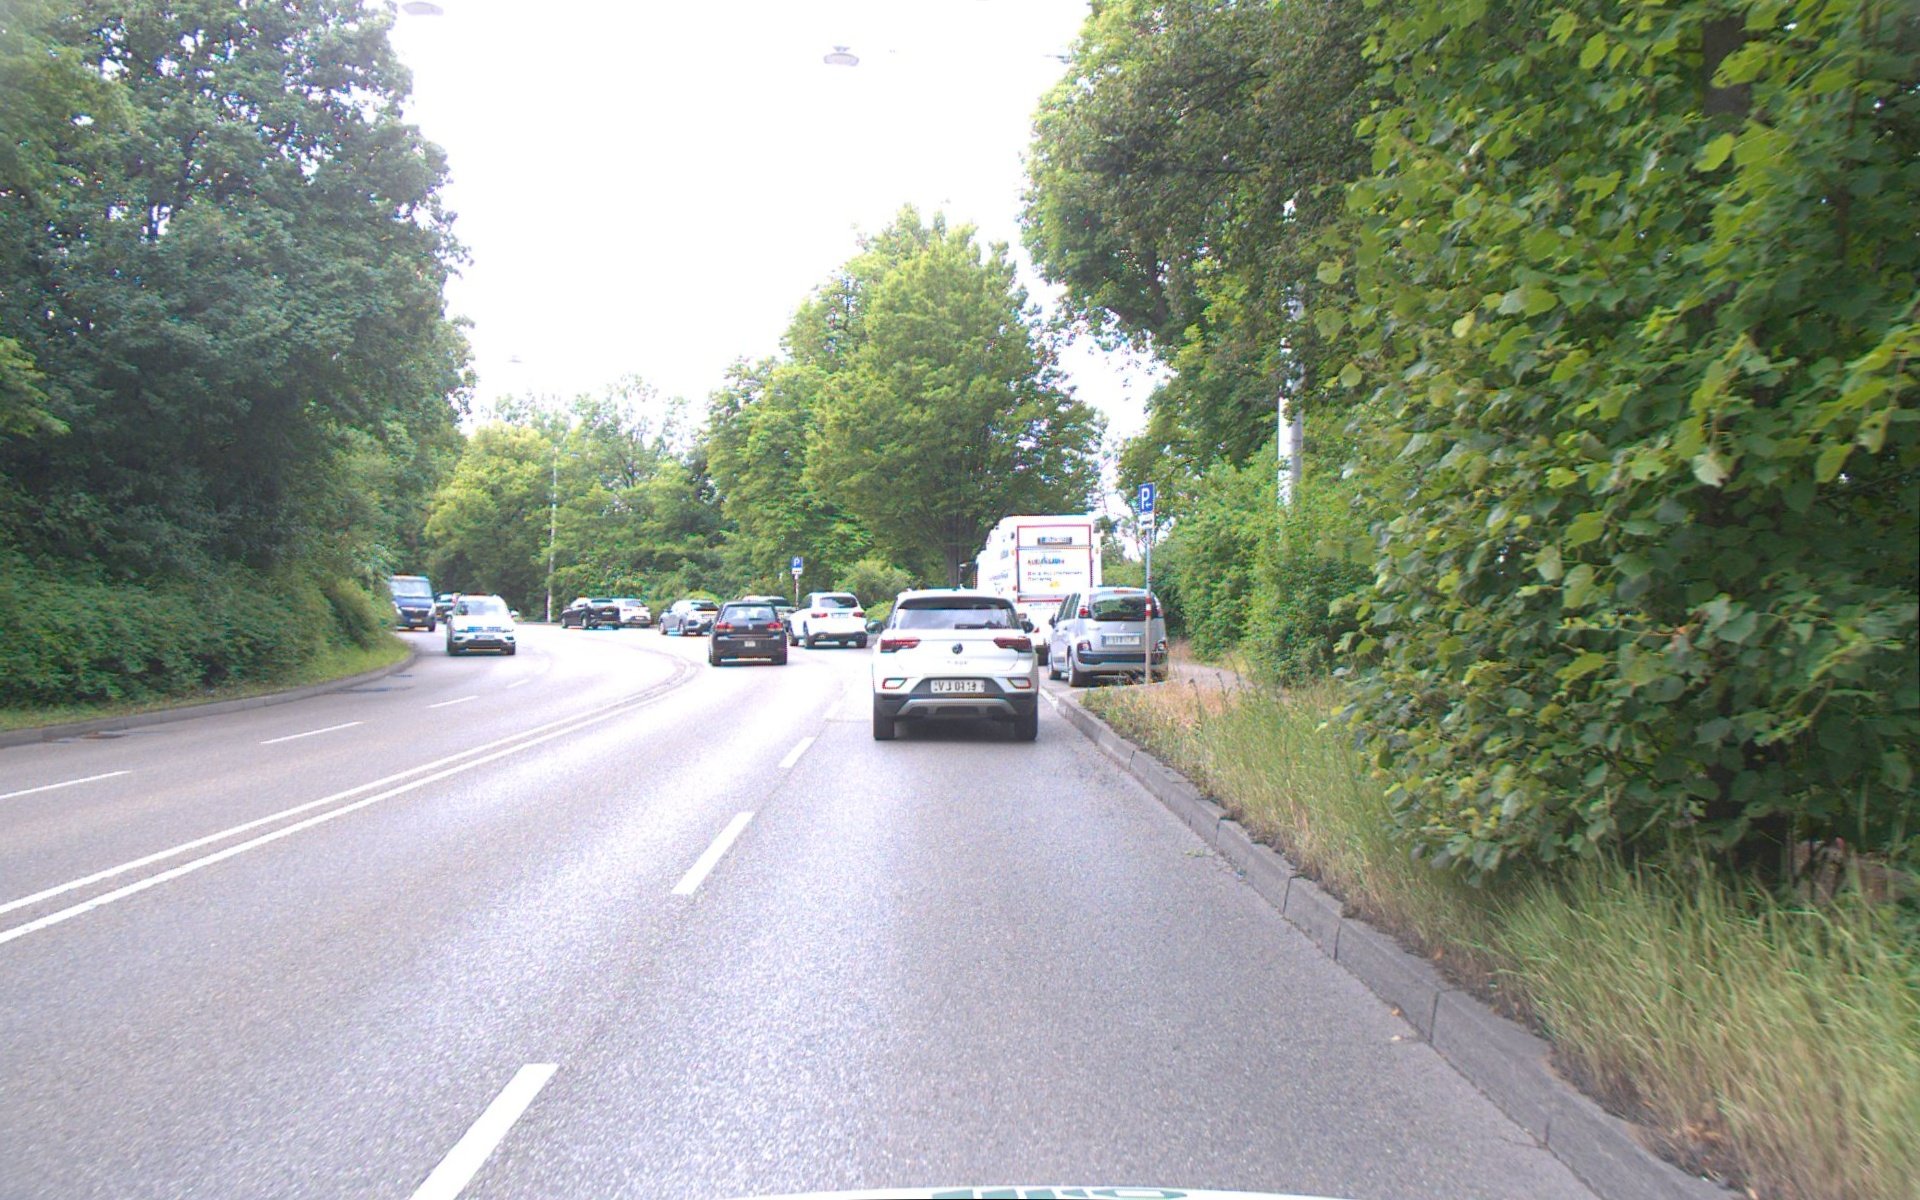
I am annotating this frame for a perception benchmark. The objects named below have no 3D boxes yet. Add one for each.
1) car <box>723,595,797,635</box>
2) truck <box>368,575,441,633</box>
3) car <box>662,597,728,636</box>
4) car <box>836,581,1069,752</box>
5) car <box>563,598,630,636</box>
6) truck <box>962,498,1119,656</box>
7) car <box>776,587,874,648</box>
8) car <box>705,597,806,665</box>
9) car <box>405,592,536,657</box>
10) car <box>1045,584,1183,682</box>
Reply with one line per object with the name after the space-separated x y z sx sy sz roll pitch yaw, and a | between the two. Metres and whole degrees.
-8.674 0.627 71.321 1.738 1.681 4.340 0 0 -28 | car
-24.017 0.162 71.314 2.134 2.412 6.621 0 0 -26 | truck
-10.693 0.657 66.554 1.409 1.413 3.964 3 -1 -28 | car
-0.208 0.677 18.505 1.964 1.624 3.991 3 -1 -9 | car
-17.349 0.778 78.832 1.750 1.635 3.953 3 -1 -34 | car
1.720 -0.453 38.755 2.435 3.237 7.218 3 -1 -6 | truck
-4.124 0.484 50.140 1.826 1.732 3.972 -1 1 -23 | car
-4.727 0.709 38.690 1.909 1.492 3.999 0 -1 -1 | car
-14.332 0.675 48.282 1.848 1.724 4.364 -3 2 -44 | car
2.600 0.556 28.836 1.767 1.551 3.997 -1 0 -4 | car
